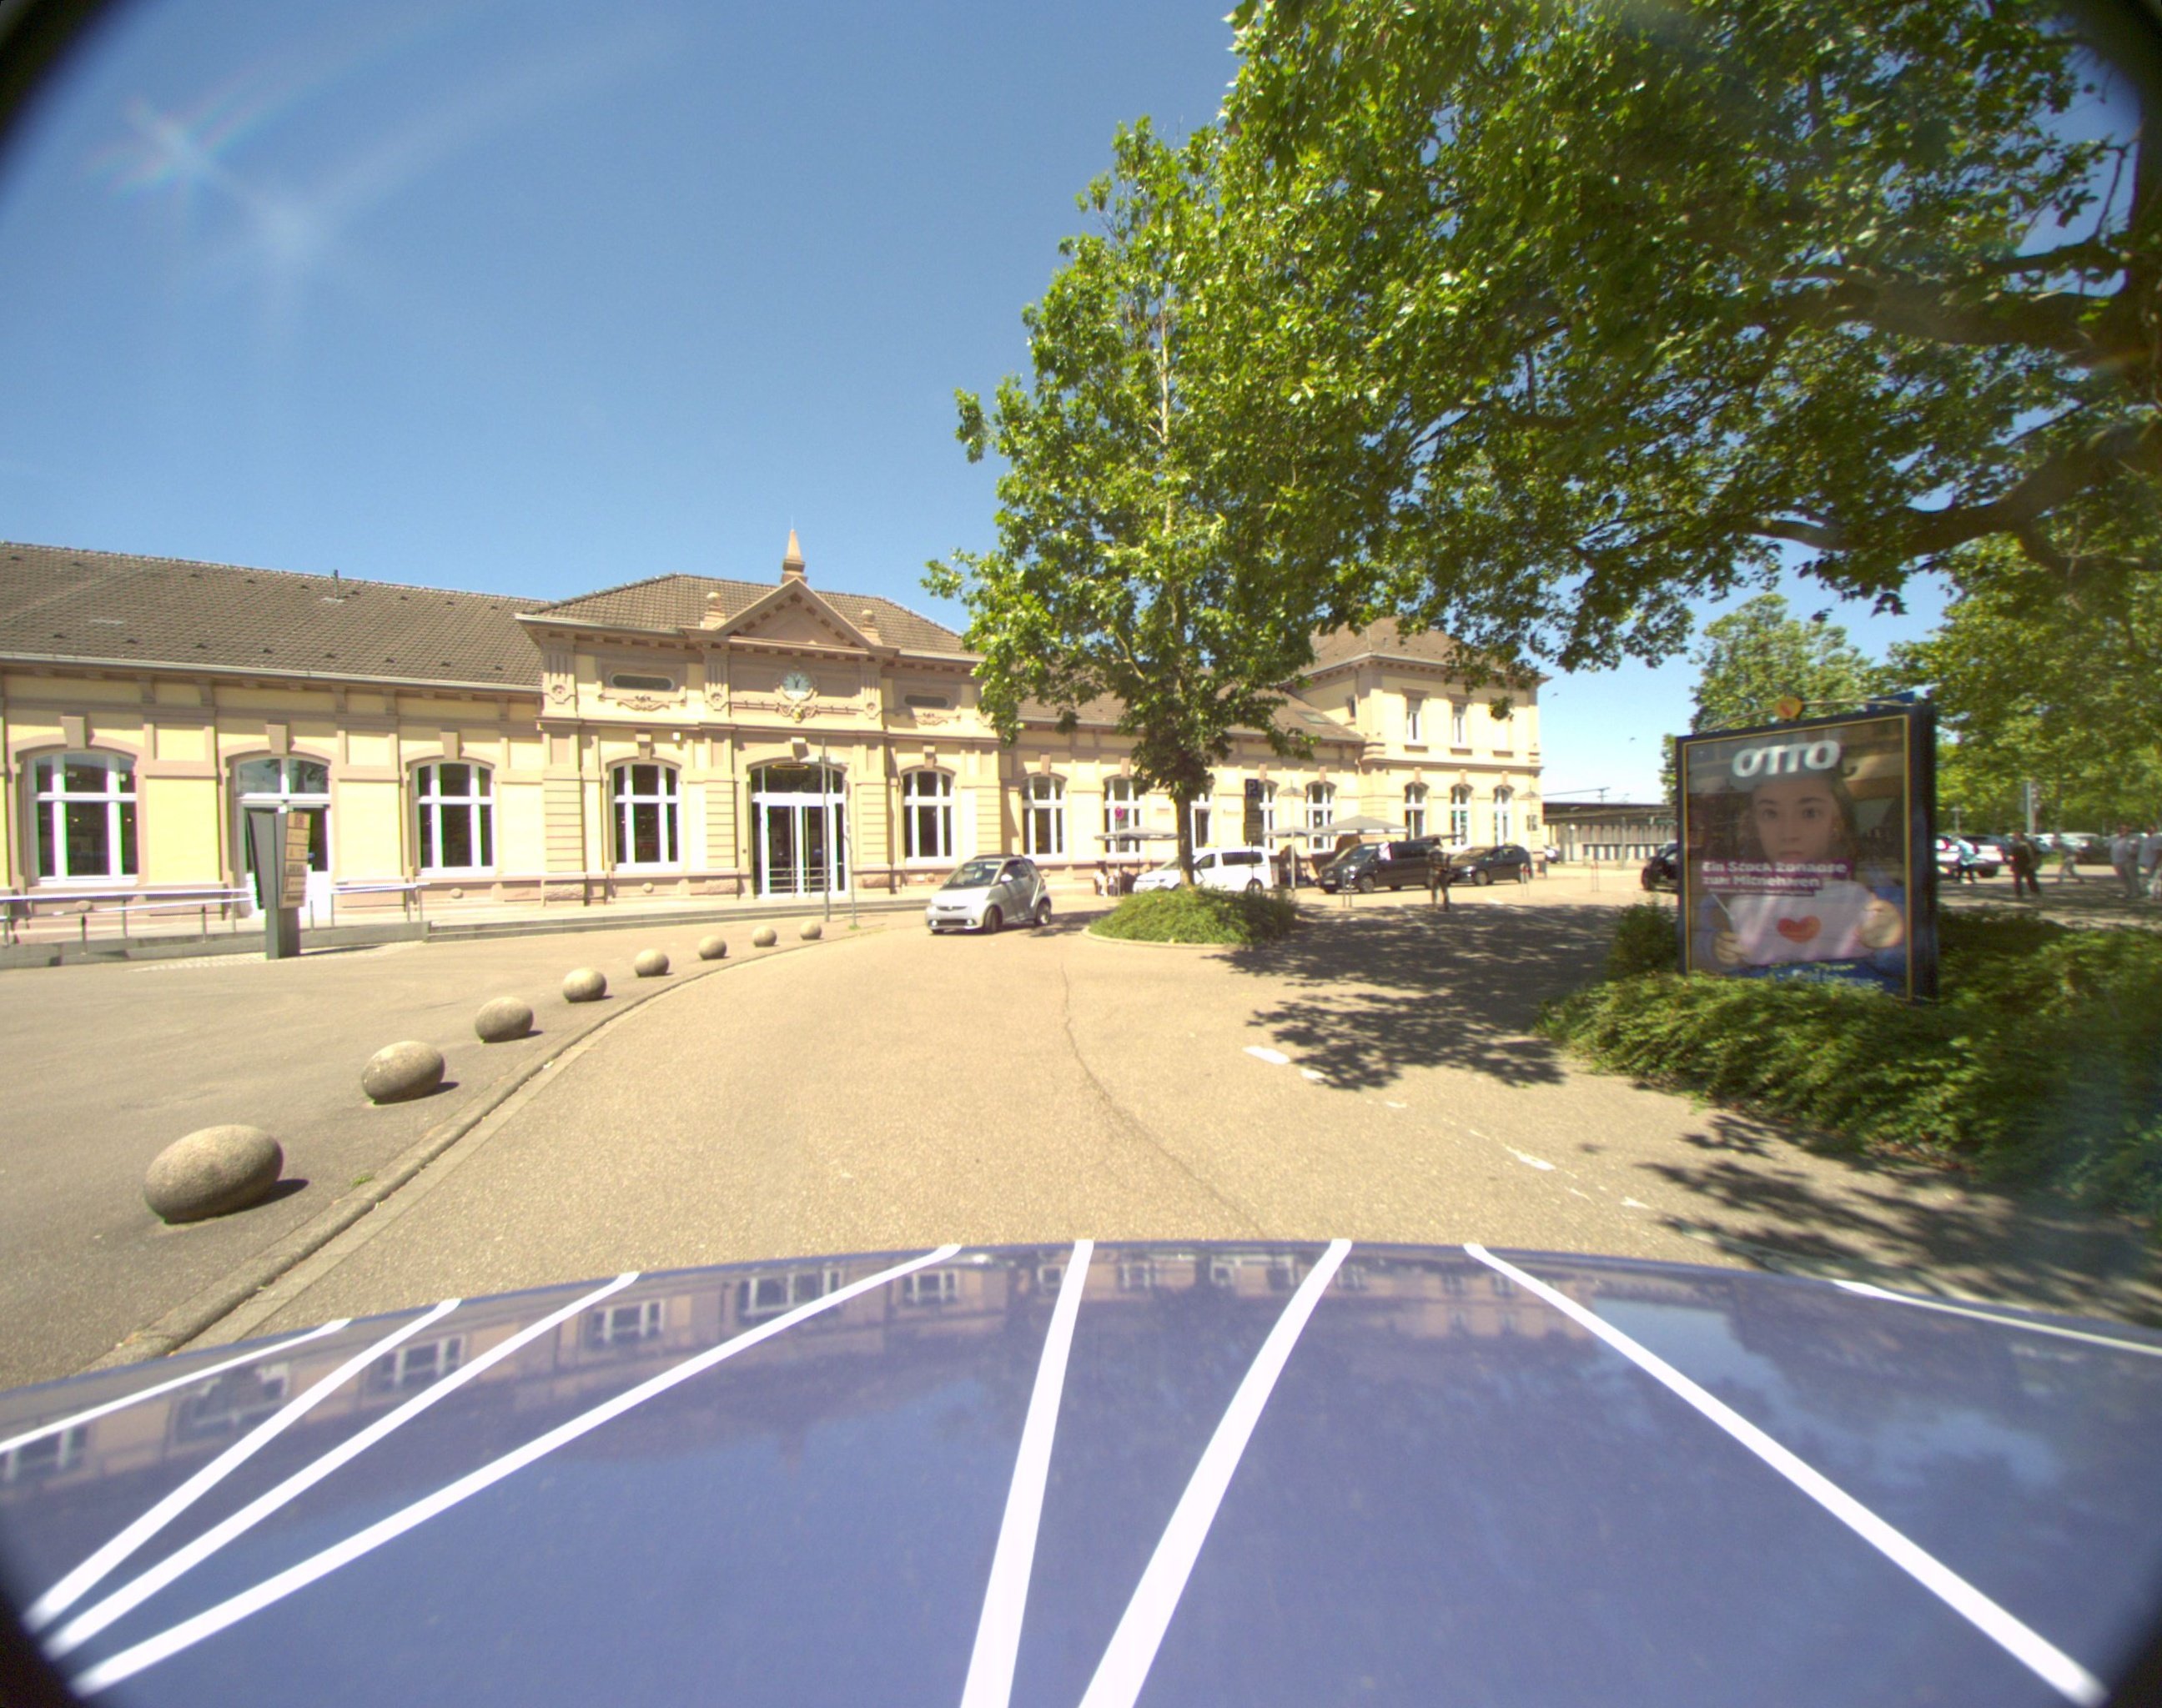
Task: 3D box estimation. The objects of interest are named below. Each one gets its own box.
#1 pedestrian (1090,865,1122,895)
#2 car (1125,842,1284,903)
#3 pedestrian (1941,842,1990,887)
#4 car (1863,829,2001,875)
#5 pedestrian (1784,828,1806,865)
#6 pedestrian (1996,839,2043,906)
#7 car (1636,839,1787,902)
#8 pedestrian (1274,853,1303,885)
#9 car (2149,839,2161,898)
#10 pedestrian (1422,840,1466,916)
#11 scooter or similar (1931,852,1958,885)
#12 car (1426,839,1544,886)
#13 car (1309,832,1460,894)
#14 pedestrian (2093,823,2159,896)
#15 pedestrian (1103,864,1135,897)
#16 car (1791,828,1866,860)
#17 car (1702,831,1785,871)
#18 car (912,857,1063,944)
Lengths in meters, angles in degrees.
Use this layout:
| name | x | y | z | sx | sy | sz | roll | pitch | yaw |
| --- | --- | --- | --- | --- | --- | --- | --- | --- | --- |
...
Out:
| name | x | y | z | sx | sy | sz | roll | pitch | yaw |
| --- | --- | --- | --- | --- | --- | --- | --- | --- | --- |
| pedestrian | 0.951 | 0.995 | 29.077 | 0.853 | 1.074 | 0.879 | -2 | 2 | -30 |
| car | 4.152 | 0.581 | 25.235 | 5.146 | 1.854 | 1.811 | -1 | -1 | -28 |
| pedestrian | 29.047 | 0.344 | 24.954 | 0.800 | 1.416 | 0.691 | -1 | 0 | -1 |
| car | 32.926 | -0.113 | 29.563 | 1.797 | 1.596 | 4.068 | -3 | 1 | 19 |
| pedestrian | 38.850 | -0.403 | 41.338 | 0.618 | 1.978 | 0.627 | -2 | -1 | -31 |
| pedestrian | 22.318 | 0.431 | 18.065 | 0.611 | 1.539 | 0.588 | -2 | 1 | -29 |
| car | 18.047 | 0.408 | 22.039 | 1.797 | 1.534 | 4.535 | -3 | 1 | 18 |
| pedestrian | 9.078 | 0.648 | 33.296 | 0.853 | 1.363 | 0.879 | -2 | 2 | -30 |
| car | 27.883 | 0.321 | 16.771 | 1.790 | 1.408 | 4.765 | -2 | 0 | -45 |
| pedestrian | 8.356 | 0.547 | 17.506 | 0.772 | 1.707 | 0.816 | -1 | 1 | 17 |
| scooter or similar | 29.044 | 0.489 | 25.552 | 0.437 | 1.095 | 0.403 | -1 | 1 | 3 |
| car | 16.769 | 0.348 | 31.503 | 4.848 | 1.829 | 2.076 | -1 | -1 | -31 |
| car | 11.341 | 0.305 | 28.247 | 5.835 | 2.111 | 2.089 | -1 | -1 | -31 |
| pedestrian | 25.939 | 0.141 | 18.874 | 0.853 | 1.760 | 0.836 | -2 | 1 | -45 |
| pedestrian | 1.405 | 0.962 | 28.254 | 0.853 | 1.155 | 0.879 | -2 | 2 | -30 |
| car | 47.940 | -0.623 | 48.743 | 4.252 | 1.778 | 1.997 | -2 | -2 | -25 |
| car | 35.764 | -0.178 | 41.002 | 4.610 | 1.978 | 2.000 | -2 | -1 | -31 |
| car | -1.860 | 0.900 | 15.979 | 1.598 | 1.584 | 3.112 | -1 | 0 | 28 |
